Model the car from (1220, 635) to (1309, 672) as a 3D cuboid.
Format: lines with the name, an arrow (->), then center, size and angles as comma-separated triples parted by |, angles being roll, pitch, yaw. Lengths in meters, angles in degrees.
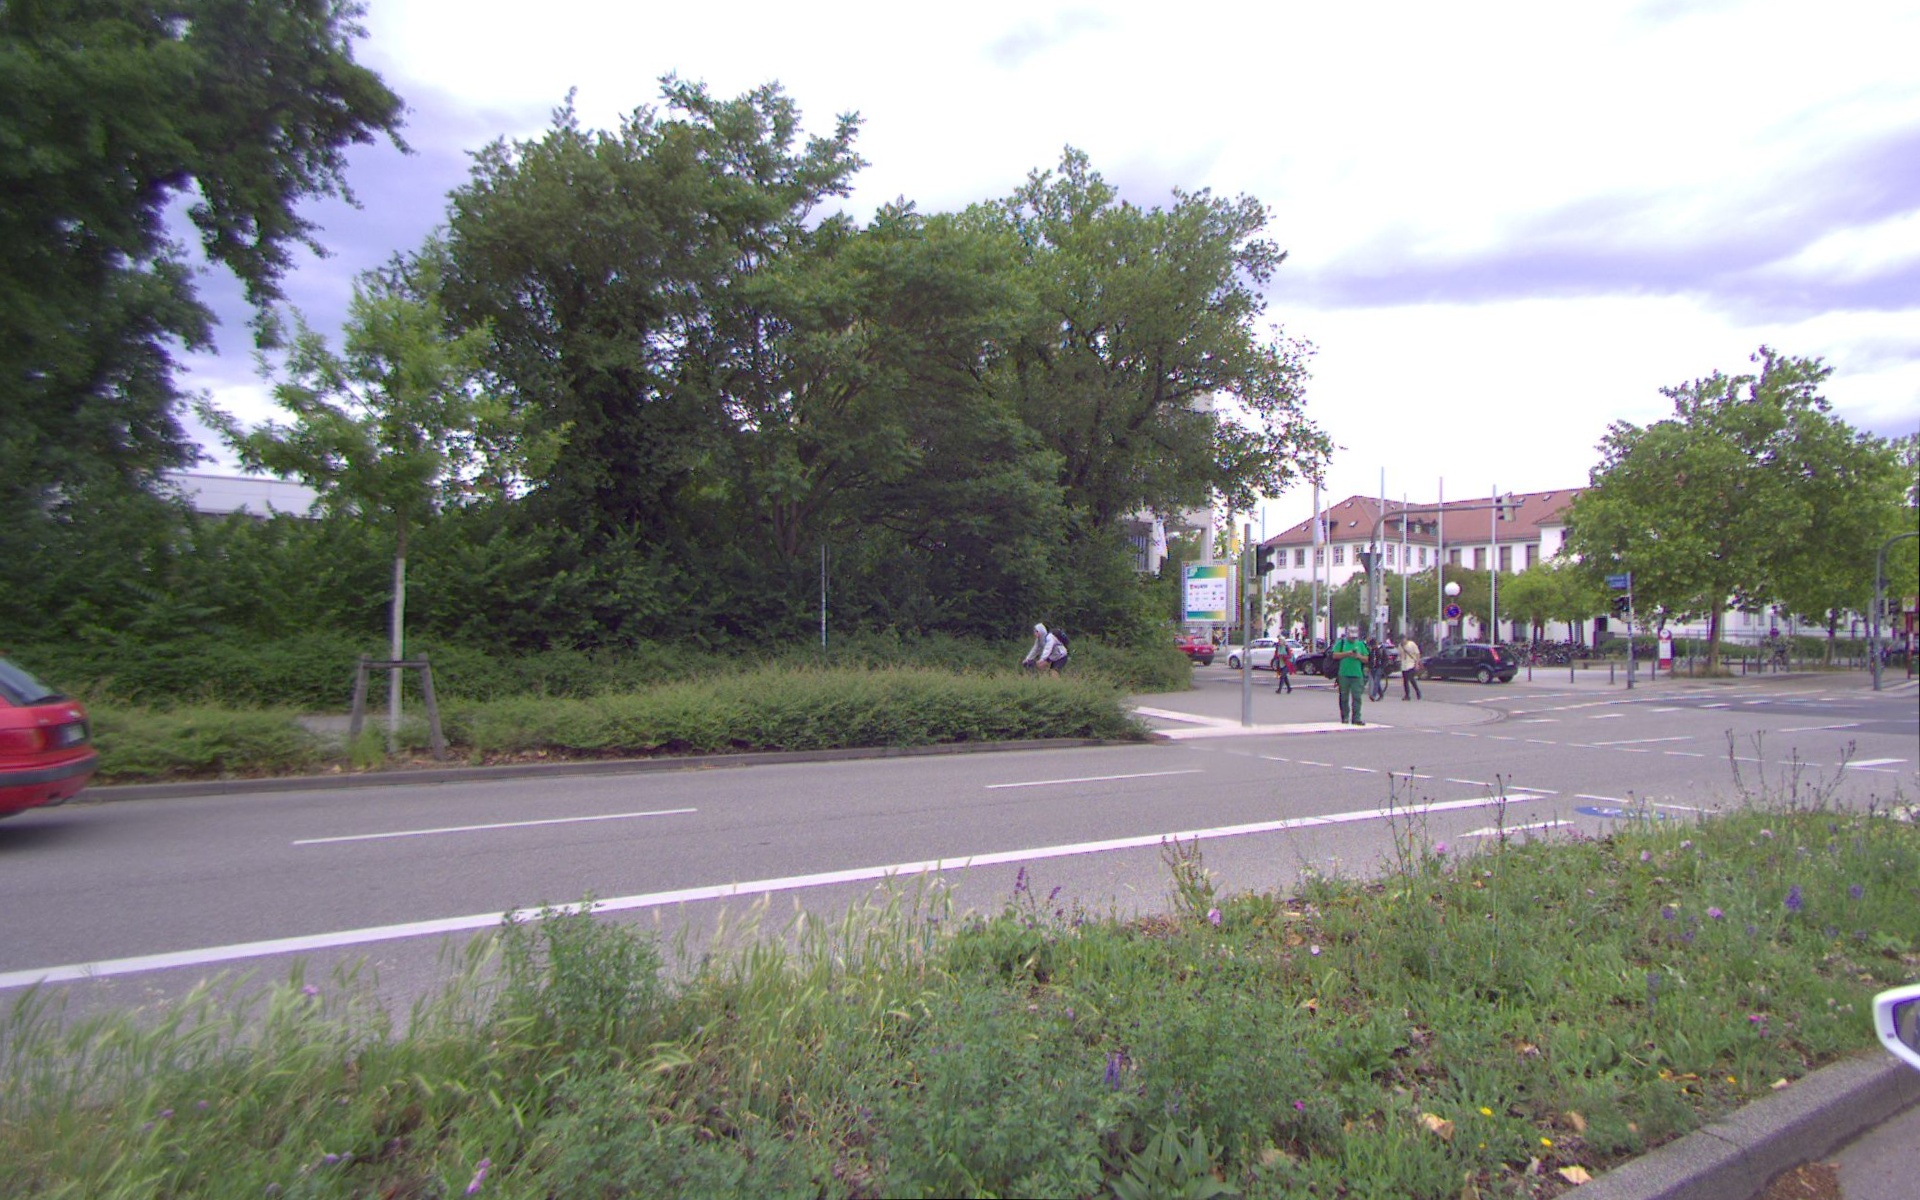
car -> 14.380, 2.497, 47.578 | 1.667, 1.560, 3.857 | -1, 0, -32

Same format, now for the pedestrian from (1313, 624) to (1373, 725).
pedestrian -> 7.080, 1.352, 18.597 | 0.924, 1.782, 0.876 | 2, -1, 16

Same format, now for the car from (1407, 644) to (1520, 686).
car -> 19.647, 2.504, 39.300 | 1.548, 1.240, 3.630 | -7, 4, -35

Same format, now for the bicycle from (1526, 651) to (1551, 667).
bicycle -> 32.659, 3.328, 56.682 | 1.191, 0.892, 0.263 | -2, -3, 38

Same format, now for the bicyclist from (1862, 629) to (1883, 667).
bicyclist -> 39.570, 2.077, 43.568 | 0.581, 1.647, 0.488 | 0, 1, -30

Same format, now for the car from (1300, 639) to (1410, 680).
car -> 16.729, 2.493, 42.598 | 4.006, 1.472, 1.613 | -2, 3, 43

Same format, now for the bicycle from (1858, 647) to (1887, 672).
bicycle -> 39.573, 2.566, 43.578 | 1.571, 1.019, 0.485 | 0, 1, -31

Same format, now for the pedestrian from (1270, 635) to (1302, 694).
pedestrian -> 8.889, 1.758, 27.398 | 0.563, 1.545, 0.846 | 0, -6, 36

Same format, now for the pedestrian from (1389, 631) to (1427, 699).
pedestrian -> 12.061, 1.746, 27.057 | 0.827, 1.761, 0.830 | 0, -5, 30

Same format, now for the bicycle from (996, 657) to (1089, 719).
bicycle -> 1.541, 1.628, 18.835 | 1.594, 1.076, 0.665 | 1, 0, -20

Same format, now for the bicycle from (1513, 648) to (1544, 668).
bicycle -> 31.934, 3.258, 56.433 | 1.385, 1.066, 0.586 | -3, -3, 41

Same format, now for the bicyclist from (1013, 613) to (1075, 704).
bicyclist -> 1.569, 1.072, 18.837 | 0.946, 1.657, 0.665 | 1, 0, -19

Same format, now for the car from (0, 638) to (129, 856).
car -> -8.286, 0.971, 6.478 | 4.244, 1.437, 1.706 | 1, -2, -31

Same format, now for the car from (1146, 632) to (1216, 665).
car -> 11.370, 2.464, 51.735 | 1.547, 1.499, 3.322 | 1, 0, -36

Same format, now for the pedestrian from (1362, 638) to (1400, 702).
pedestrian -> 10.655, 1.771, 25.462 | 0.776, 1.578, 0.700 | 2, -4, 16

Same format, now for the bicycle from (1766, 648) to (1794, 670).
bicycle -> 40.995, 2.959, 50.207 | 2.025, 1.074, 0.603 | 1, -3, -37
